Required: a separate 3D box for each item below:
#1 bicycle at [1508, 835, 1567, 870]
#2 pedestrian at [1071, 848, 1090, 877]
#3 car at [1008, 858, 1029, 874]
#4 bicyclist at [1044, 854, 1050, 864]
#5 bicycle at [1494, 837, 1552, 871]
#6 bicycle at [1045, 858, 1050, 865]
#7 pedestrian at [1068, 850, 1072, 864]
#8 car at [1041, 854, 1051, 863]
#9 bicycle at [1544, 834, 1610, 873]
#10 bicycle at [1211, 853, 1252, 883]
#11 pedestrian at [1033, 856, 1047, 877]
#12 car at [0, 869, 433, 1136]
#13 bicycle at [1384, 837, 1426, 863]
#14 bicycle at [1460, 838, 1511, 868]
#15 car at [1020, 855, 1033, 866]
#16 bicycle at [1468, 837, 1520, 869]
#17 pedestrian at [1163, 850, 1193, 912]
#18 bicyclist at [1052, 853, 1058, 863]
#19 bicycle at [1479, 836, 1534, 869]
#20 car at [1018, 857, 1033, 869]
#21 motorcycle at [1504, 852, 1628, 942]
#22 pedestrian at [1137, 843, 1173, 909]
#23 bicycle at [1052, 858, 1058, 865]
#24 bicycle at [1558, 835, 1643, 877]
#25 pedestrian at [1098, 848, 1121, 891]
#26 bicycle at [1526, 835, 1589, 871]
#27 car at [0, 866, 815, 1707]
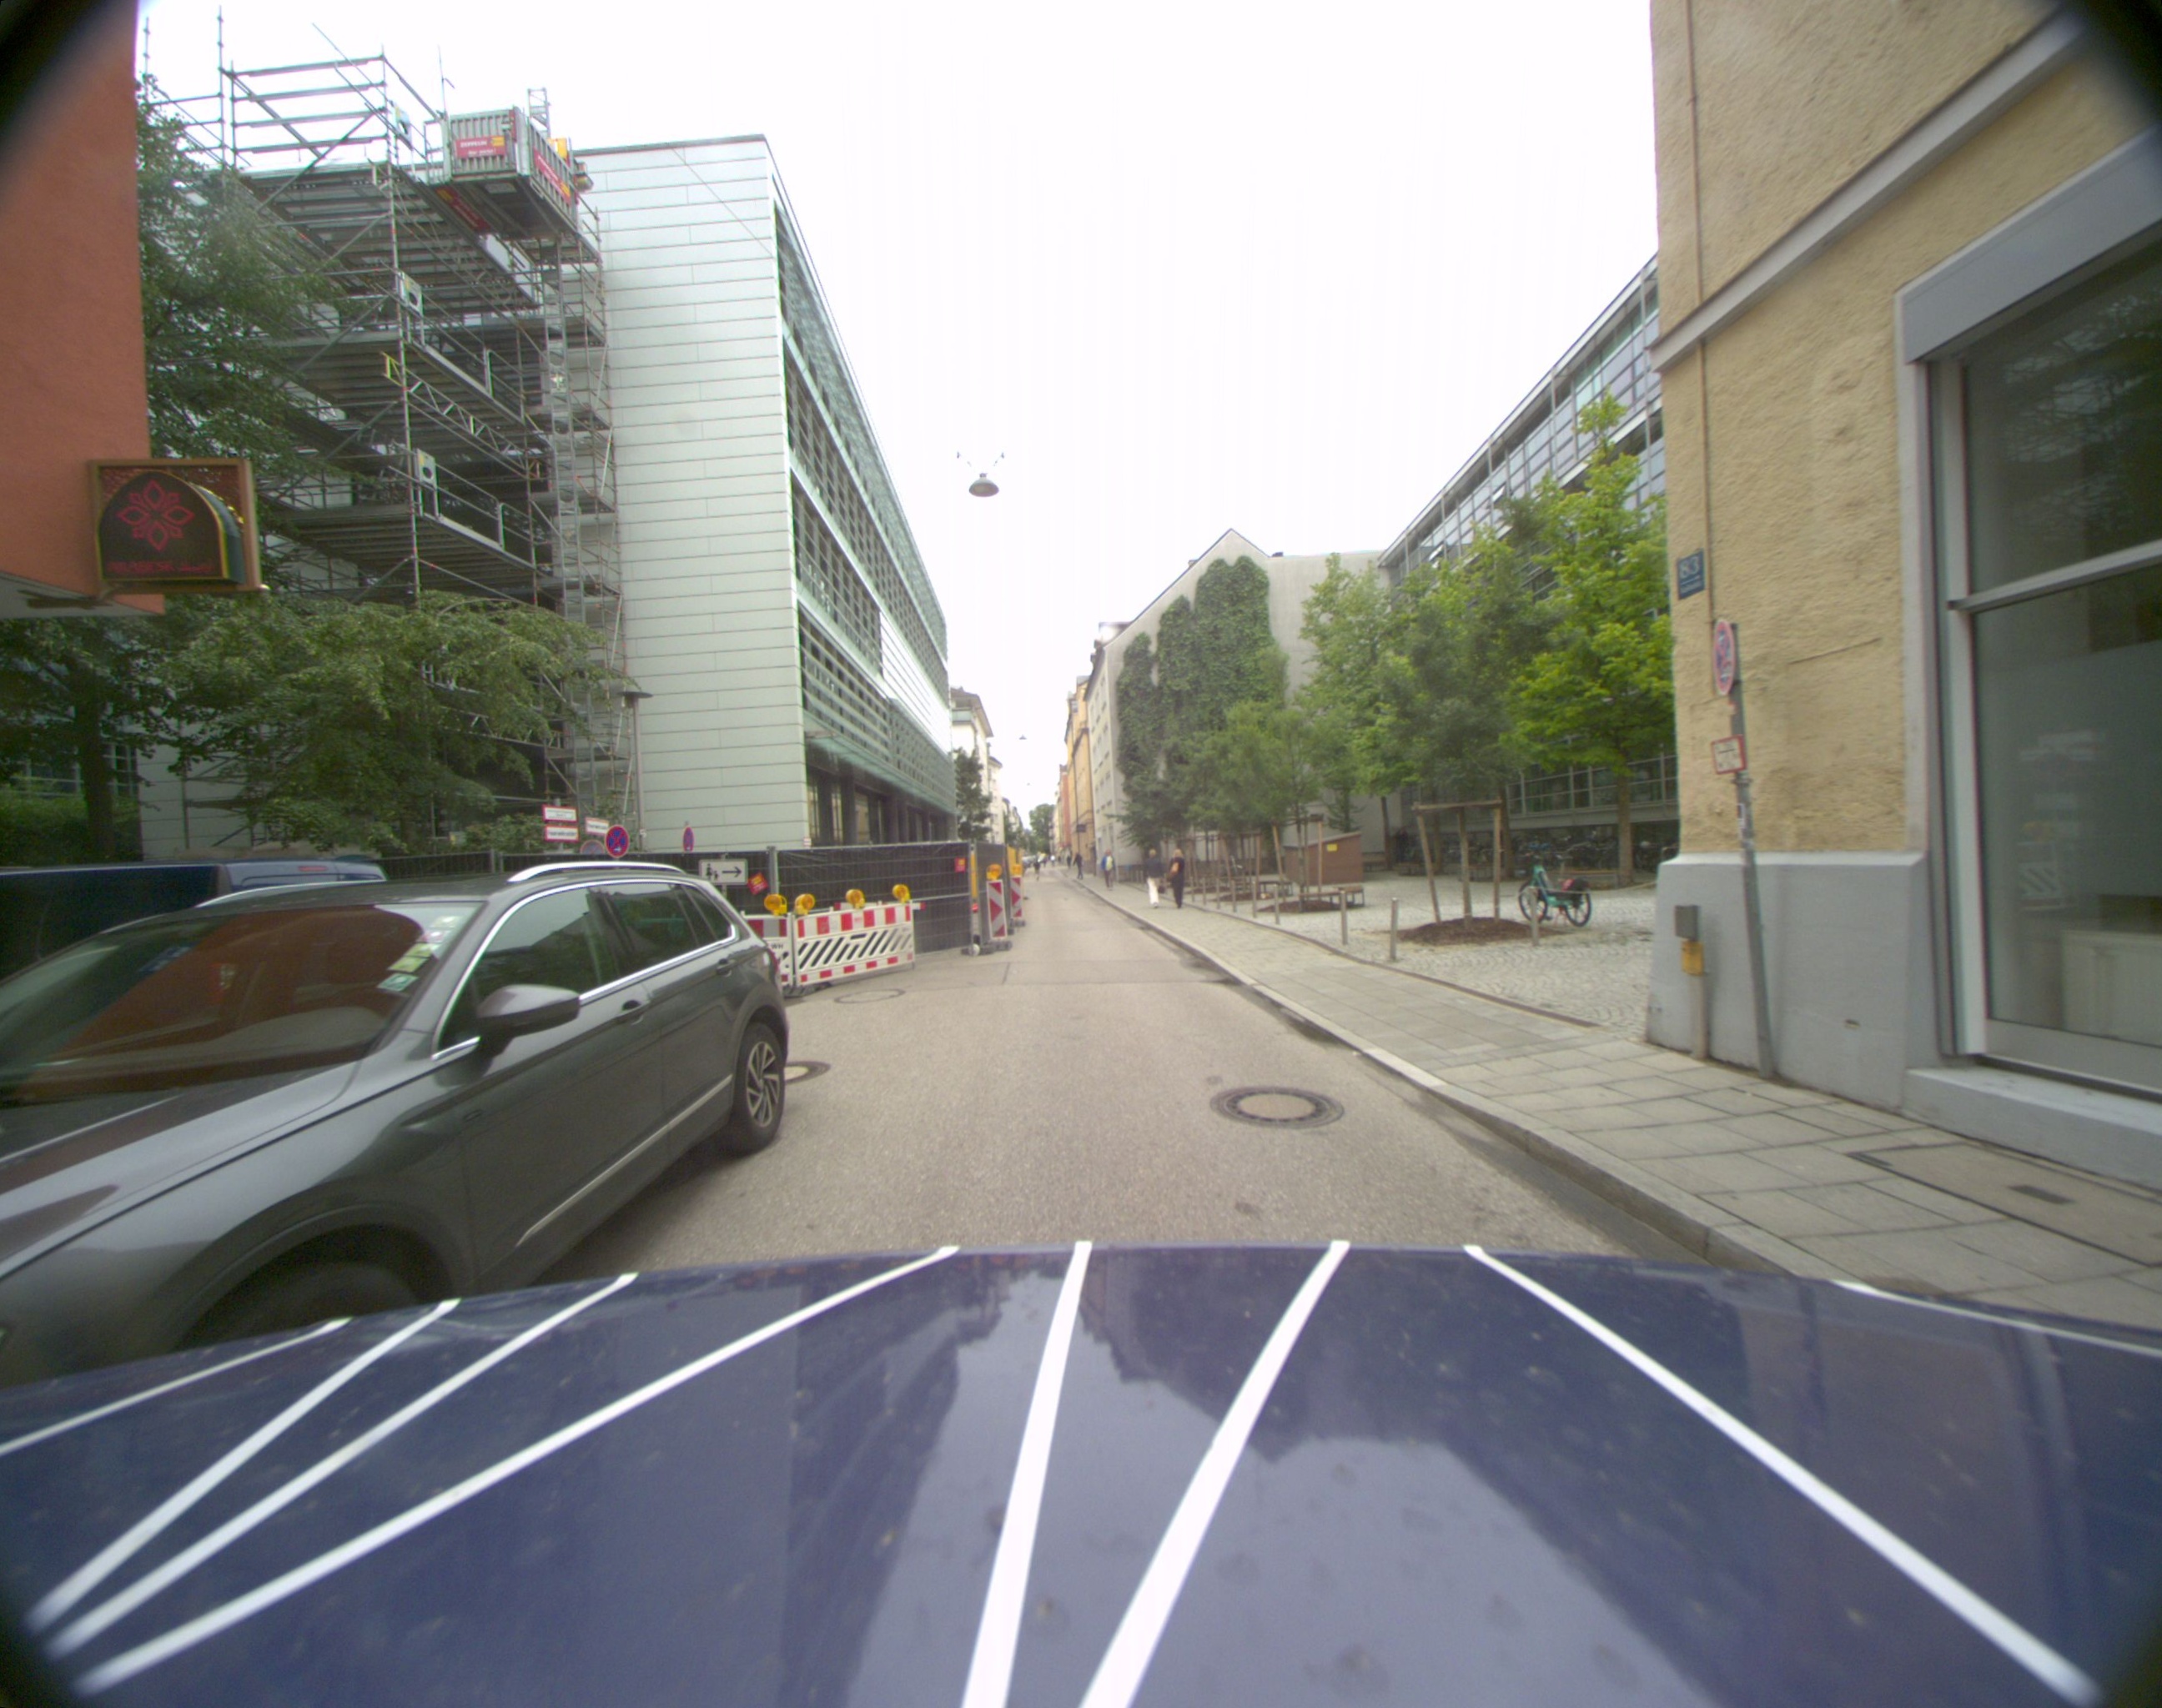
[{"bbox_3d":[15.409,-0.045,25.661,1.575,1.054,0.629,-4,1,0],"label":"bicycle"},{"bbox_3d":[-0.048,0.575,51.312,0.746,1.891,0.877,-5,1,-35],"label":"pedestrian"},{"bbox_3d":[-6.052,1.116,74.039,1.810,1.390,3.999,-3,0,-3],"label":"car"},{"bbox_3d":[-4.732,0.713,106.610,0.700,1.399,0.768,-3,1,-4],"label":"bicyclist"},{"bbox_3d":[15.365,0.000,26.424,1.575,1.054,0.629,-4,1,0],"label":"bicycle"},{"bbox_3d":[-4.711,1.079,106.629,0.700,0.976,1.948,-3,0,-4],"label":"bicycle"},{"bbox_3d":[-1.247,0.361,89.453,0.386,1.666,0.448,-2,1,-5],"label":"pedestrian"},{"bbox_3d":[-7.419,0.912,159.455,1.999,1.583,4.373,-3,0,-3],"label":"car"},{"bbox_3d":[15.165,-0.016,23.244,1.575,1.054,0.629,-4,1,0],"label":"bicycle"},{"bbox_3d":[6.406,0.579,32.452,0.714,1.201,1.995,-5,1,-21],"label":"bicycle"},{"bbox_3d":[-3.100,0.955,57.074,0.712,1.542,0.775,-4,1,-25],"label":"pedestrian"},{"bbox_3d":[-8.243,1.093,6.002,4.474,1.710,1.840,-3,0,-3],"label":"car"},{"bbox_3d":[15.551,-0.184,36.510,1.725,1.135,0.603,-3,1,3],"label":"bicycle"},{"bbox_3d":[15.480,-0.047,29.110,1.575,1.054,0.629,-4,1,0],"label":"bicycle"},{"bbox_3d":[-8.163,0.945,113.512,1.794,1.550,3.999,-3,0,-3],"label":"car"},{"bbox_3d":[15.424,-0.037,28.389,1.575,1.054,0.629,-4,1,0],"label":"bicycle"},{"bbox_3d":[2.677,0.719,21.016,0.554,1.650,0.997,-3,1,-3],"label":"pedestrian"},{"bbox_3d":[-3.719,0.578,108.180,0.718,1.399,0.965,-3,1,-4],"label":"bicyclist"},{"bbox_3d":[15.409,-0.055,27.515,1.575,1.054,0.629,-4,1,0],"label":"bicycle"},{"bbox_3d":[-6.670,1.094,90.988,1.625,1.259,4.328,-3,0,-3],"label":"car"},{"bbox_3d":[7.102,0.581,11.252,0.577,1.166,1.981,-4,1,3],"label":"motorcycle"},{"bbox_3d":[2.139,0.629,22.036,0.778,1.826,0.991,-3,1,-3],"label":"pedestrian"},{"bbox_3d":[-3.702,1.013,108.197,0.700,0.926,1.693,-3,0,-4],"label":"bicycle"},{"bbox_3d":[14.962,0.061,21.914,1.901,1.052,0.705,-4,1,1],"label":"bicycle"},{"bbox_3d":[1.295,0.691,34.452,0.861,1.834,0.974,-4,1,-1],"label":"pedestrian"},{"bbox_3d":[15.295,-0.034,24.389,1.575,1.054,0.629,-4,1,0],"label":"bicycle"},{"bbox_3d":[-2.691,0.994,2.827,1.829,1.700,4.388,-4,0,-1],"label":"car"}]
